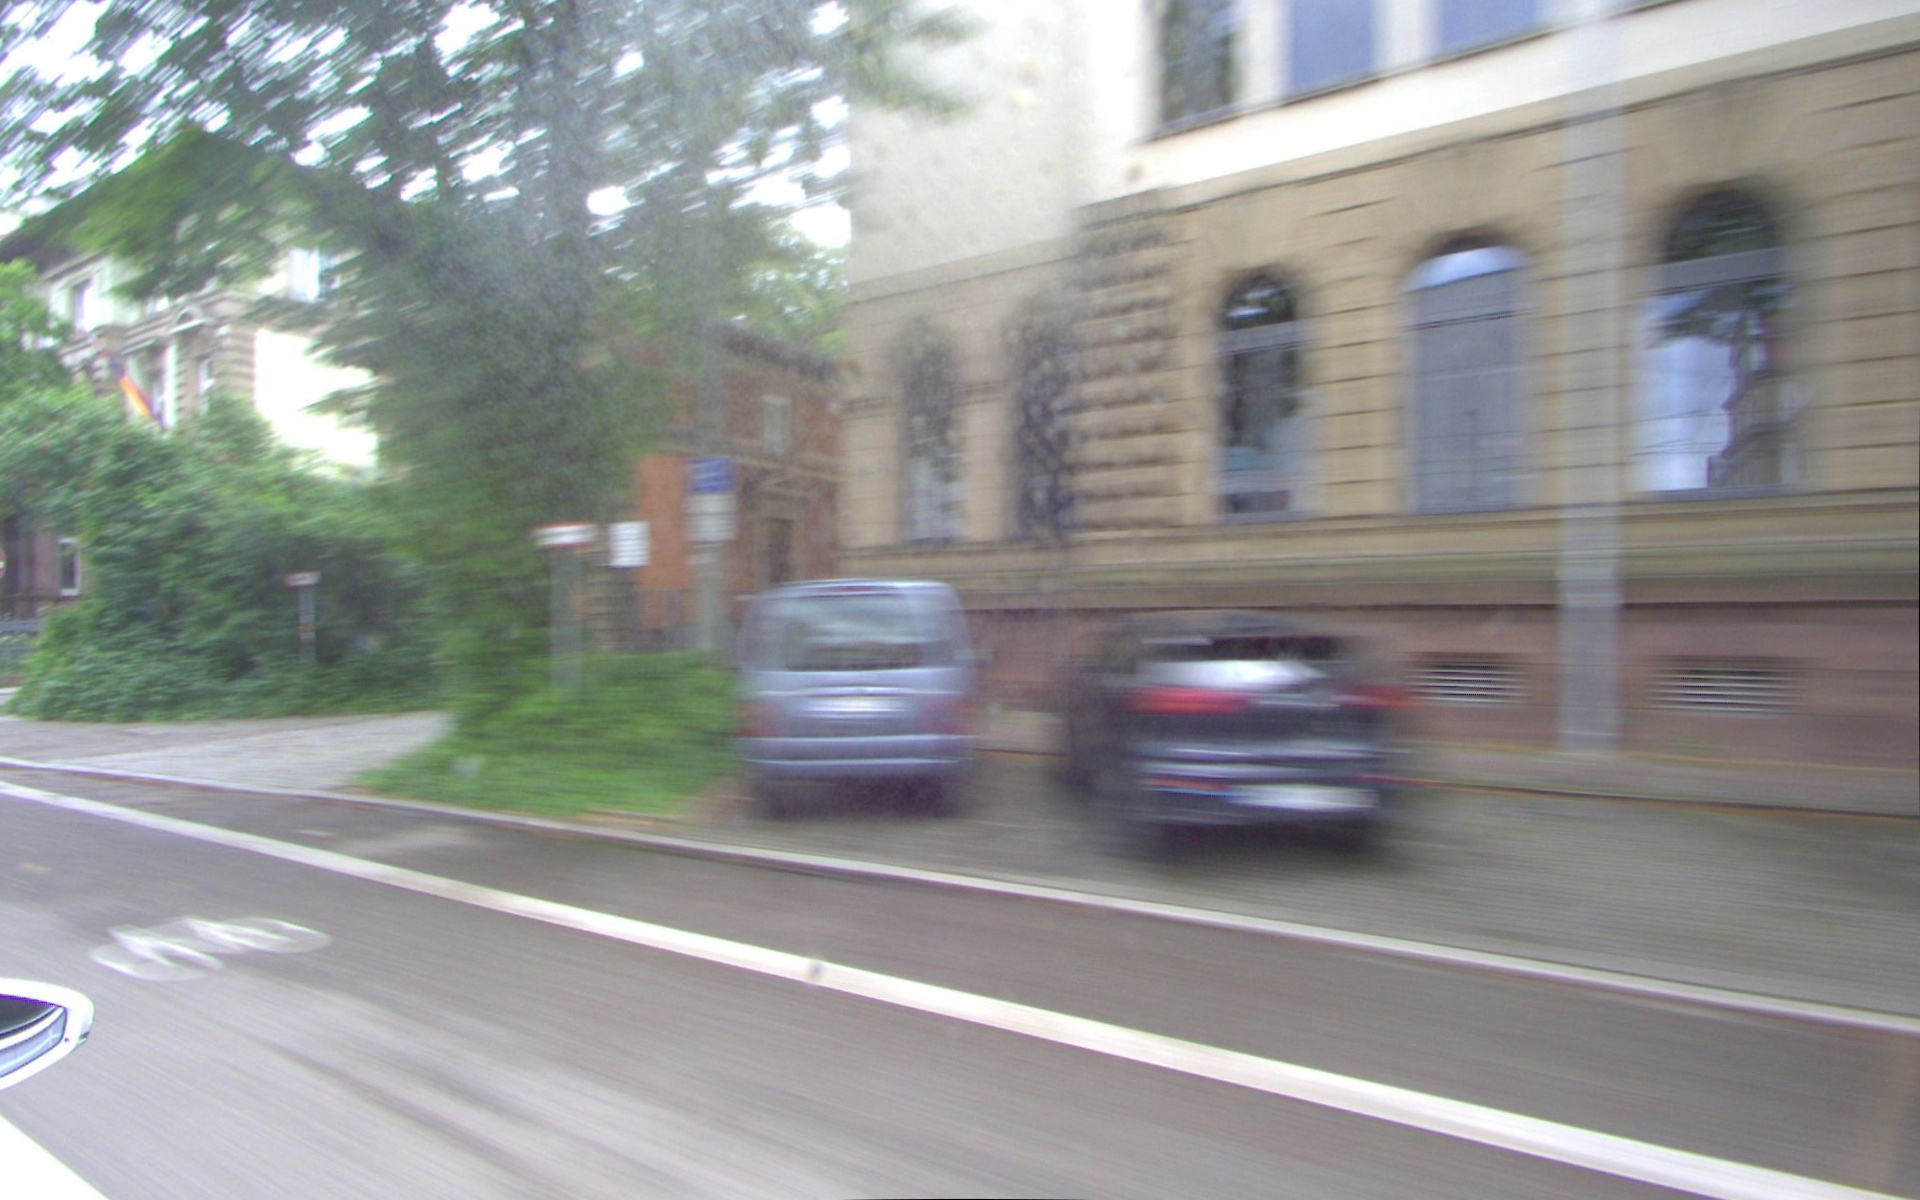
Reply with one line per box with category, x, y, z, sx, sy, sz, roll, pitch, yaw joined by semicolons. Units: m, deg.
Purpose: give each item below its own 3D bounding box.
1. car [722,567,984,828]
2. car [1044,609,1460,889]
car;-0.720;0.708;9.047;1.772;1.845;3.840;0;0;3
car;1.829;0.853;7.659;1.828;1.559;3.999;0;0;-3
